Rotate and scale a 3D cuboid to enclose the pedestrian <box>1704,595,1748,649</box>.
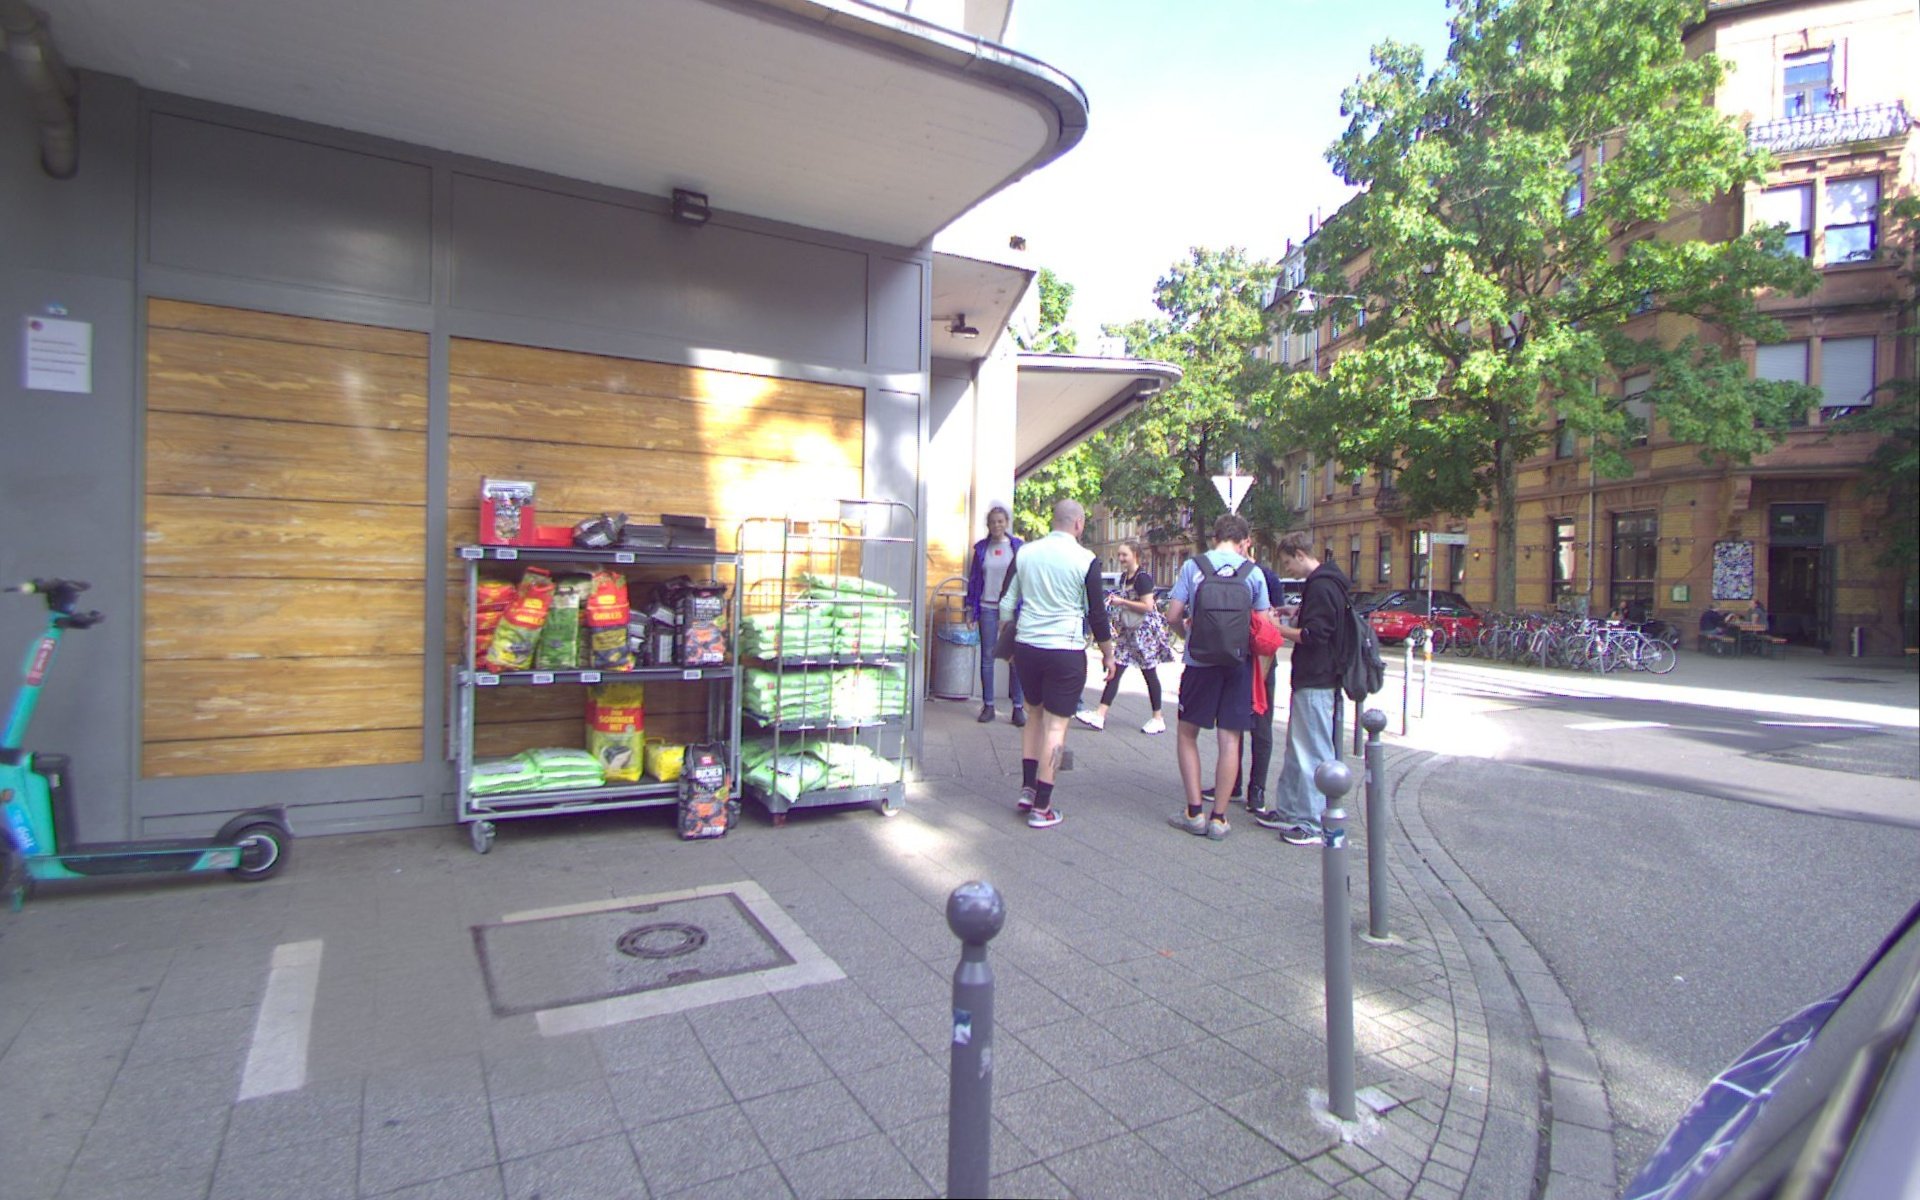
[{"bbox_3d":[18.431,0.524,24.351,0.630,1.239,0.512,0,2,3],"label":"pedestrian"}]

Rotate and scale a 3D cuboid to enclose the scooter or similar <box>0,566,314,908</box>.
[{"bbox_3d":[-3.374,0.498,4.113,1.231,1.227,0.635,1,2,-32],"label":"scooter or similar"}]

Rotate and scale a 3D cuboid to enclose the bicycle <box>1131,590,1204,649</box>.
[{"bbox_3d":[4.502,0.410,22.076,0.405,1.190,1.856,2,1,-29],"label":"bicycle"}]

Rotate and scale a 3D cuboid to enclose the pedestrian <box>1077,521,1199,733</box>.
[{"bbox_3d":[1.575,0.218,9.000,0.603,1.775,0.841,1,1,-43],"label":"pedestrian"}]

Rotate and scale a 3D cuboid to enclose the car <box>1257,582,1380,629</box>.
[{"bbox_3d":[12.458,0.175,35.328,3.636,1.476,1.670,-2,0,-3],"label":"car"}]

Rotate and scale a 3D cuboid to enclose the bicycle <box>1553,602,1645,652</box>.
[{"bbox_3d":[15.072,0.625,23.902,1.766,1.127,0.600,0,2,0],"label":"bicycle"}]

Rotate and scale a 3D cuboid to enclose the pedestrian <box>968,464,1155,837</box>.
[{"bbox_3d":[0.521,0.232,5.638,0.870,1.857,1.047,2,3,1],"label":"pedestrian"}]

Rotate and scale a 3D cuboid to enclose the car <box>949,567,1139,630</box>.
[{"bbox_3d":[2.207,-0.034,26.799,4.567,1.473,1.961,2,0,-20],"label":"car"}]

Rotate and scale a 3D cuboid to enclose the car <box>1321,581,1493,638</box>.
[{"bbox_3d":[13.299,0.267,30.306,4.232,1.589,2.006,-1,1,2],"label":"car"}]

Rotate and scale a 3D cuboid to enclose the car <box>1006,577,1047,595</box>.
[{"bbox_3d":[6.716,-1.383,102.327,3.920,1.754,1.831,1,0,-5],"label":"car"}]

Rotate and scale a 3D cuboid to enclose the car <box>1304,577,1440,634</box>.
[{"bbox_3d":[13.401,0.180,33.085,3.635,1.743,1.862,1,0,-3],"label":"car"}]

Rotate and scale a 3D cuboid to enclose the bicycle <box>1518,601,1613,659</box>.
[{"bbox_3d":[12.989,0.637,21.723,1.684,1.216,0.447,0,2,9],"label":"bicycle"}]

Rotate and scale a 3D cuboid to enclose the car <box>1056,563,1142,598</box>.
[{"bbox_3d":[9.338,-1.299,68.192,5.374,2.229,2.001,1,0,-4],"label":"car"}]

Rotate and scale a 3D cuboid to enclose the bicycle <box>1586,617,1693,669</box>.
[{"bbox_3d":[13.242,0.830,19.754,1.684,0.981,0.447,0,2,9],"label":"bicycle"}]

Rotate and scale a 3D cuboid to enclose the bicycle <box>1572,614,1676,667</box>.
[{"bbox_3d":[13.247,0.797,20.210,1.684,0.999,0.447,0,2,9],"label":"bicycle"}]

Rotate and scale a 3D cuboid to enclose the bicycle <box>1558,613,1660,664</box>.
[{"bbox_3d":[13.224,0.783,20.651,1.684,0.999,0.447,0,2,9],"label":"bicycle"}]

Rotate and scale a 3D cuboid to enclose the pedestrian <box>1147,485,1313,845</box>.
[{"bbox_3d":[1.450,0.318,5.570,0.621,1.819,0.714,4,3,4],"label":"pedestrian"}]

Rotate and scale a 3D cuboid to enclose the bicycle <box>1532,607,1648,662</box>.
[{"bbox_3d":[13.126,0.712,21.119,2.011,1.102,0.447,0,2,9],"label":"bicycle"}]

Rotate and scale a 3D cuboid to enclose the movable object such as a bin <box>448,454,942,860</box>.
[{"bbox_3d":[-1.337,0.246,5.334,2.374,1.766,0.783,1,1,-30],"label":"movable object such as a bin"}]

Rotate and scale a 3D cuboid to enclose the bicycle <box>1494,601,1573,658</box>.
[{"bbox_3d":[13.019,0.658,22.983,1.677,1.216,0.449,-1,2,-12],"label":"bicycle"}]

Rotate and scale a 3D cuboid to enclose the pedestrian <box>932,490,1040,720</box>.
[{"bbox_3d":[0.234,0.026,8.358,0.753,1.775,0.928,2,1,8],"label":"pedestrian"}]

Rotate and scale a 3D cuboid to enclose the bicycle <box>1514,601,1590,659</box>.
[{"bbox_3d":[13.129,0.659,22.434,1.676,1.216,0.449,-1,2,-18],"label":"bicycle"}]

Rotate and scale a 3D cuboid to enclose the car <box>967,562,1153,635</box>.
[{"bbox_3d":[2.365,-0.036,24.010,3.915,1.473,1.815,3,1,-21],"label":"car"}]

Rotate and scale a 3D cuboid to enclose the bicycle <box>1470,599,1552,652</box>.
[{"bbox_3d":[13.060,0.594,24.011,1.680,1.216,0.448,0,2,0],"label":"bicycle"}]

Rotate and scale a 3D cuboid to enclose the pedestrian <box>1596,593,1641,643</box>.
[{"bbox_3d":[17.613,0.460,27.075,0.754,1.301,0.630,-1,0,-6],"label":"pedestrian"}]

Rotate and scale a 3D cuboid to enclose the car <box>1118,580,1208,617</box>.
[{"bbox_3d":[11.110,-0.119,55.472,4.368,1.856,1.940,-2,2,-7],"label":"car"}]

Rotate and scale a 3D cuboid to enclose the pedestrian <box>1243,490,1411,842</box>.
[{"bbox_3d":[2.081,0.328,5.722,0.708,1.819,0.627,5,3,26],"label":"pedestrian"}]

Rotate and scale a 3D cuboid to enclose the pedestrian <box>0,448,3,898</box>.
[{"bbox_3d":[-3.245,0.355,2.816,0.698,1.652,0.725,1,3,-31],"label":"pedestrian"}]

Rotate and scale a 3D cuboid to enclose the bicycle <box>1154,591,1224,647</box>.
[{"bbox_3d":[5.298,0.425,23.501,0.405,1.190,1.856,2,1,-29],"label":"bicycle"}]

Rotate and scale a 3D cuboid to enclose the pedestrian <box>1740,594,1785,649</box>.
[{"bbox_3d":[19.201,0.510,24.222,0.630,1.274,0.512,0,2,3],"label":"pedestrian"}]

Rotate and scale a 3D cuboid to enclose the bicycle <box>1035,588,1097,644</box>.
[{"bbox_3d":[2.260,0.325,21.826,0.413,1.099,1.702,2,2,-28],"label":"bicycle"}]

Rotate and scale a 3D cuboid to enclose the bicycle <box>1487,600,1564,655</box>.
[{"bbox_3d":[13.116,0.635,23.467,1.677,1.216,0.449,-1,2,-12],"label":"bicycle"}]

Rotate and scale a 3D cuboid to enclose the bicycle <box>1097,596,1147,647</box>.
[{"bbox_3d":[3.497,0.450,21.954,0.404,1.031,1.505,2,1,-18],"label":"bicycle"}]

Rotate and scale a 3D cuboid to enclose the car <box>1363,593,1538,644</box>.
[{"bbox_3d":[13.295,0.492,27.547,4.029,1.286,1.569,-1,0,-6],"label":"car"}]

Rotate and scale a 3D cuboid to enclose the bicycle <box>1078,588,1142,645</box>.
[{"bbox_3d":[3.218,0.340,21.859,0.413,1.099,1.702,2,2,-28],"label":"bicycle"}]

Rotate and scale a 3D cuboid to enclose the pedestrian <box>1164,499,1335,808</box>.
[{"bbox_3d":[1.793,0.312,6.346,0.645,1.819,0.657,3,3,-17],"label":"pedestrian"}]

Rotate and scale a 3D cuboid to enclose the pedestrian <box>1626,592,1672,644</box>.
[{"bbox_3d":[17.841,0.463,26.209,0.754,1.301,0.630,-1,0,-6],"label":"pedestrian"}]

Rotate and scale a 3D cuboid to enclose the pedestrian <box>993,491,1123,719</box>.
[{"bbox_3d":[0.957,0.027,9.745,0.855,2.038,1.025,4,1,26],"label":"pedestrian"}]

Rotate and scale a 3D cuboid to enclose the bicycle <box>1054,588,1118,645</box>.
[{"bbox_3d":[2.687,0.332,21.783,0.413,1.099,1.702,2,2,-28],"label":"bicycle"}]

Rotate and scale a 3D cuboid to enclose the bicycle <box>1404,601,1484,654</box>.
[{"bbox_3d":[11.768,0.635,24.700,0.570,1.109,2.503,-2,2,-4],"label":"bicycle"}]

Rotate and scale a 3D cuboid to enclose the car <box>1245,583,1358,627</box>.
[{"bbox_3d":[12.777,0.165,37.974,3.635,1.475,1.671,-2,2,-3],"label":"car"}]

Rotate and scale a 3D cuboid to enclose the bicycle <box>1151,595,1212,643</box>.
[{"bbox_3d":[4.964,0.419,22.755,0.483,1.014,1.425,2,1,-29],"label":"bicycle"}]

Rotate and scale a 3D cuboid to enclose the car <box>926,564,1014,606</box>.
[{"bbox_3d":[0.629,-0.855,58.845,4.719,2.249,2.148,2,0,-36],"label":"car"}]

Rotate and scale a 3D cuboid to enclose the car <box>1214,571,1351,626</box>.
[{"bbox_3d":[12.922,-0.093,40.683,4.812,2.014,2.050,-2,1,-7],"label":"car"}]

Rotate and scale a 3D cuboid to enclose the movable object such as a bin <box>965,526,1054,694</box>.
[{"bbox_3d":[0.539,0.094,11.612,0.677,1.776,1.552,3,1,-7],"label":"movable object such as a bin"}]
